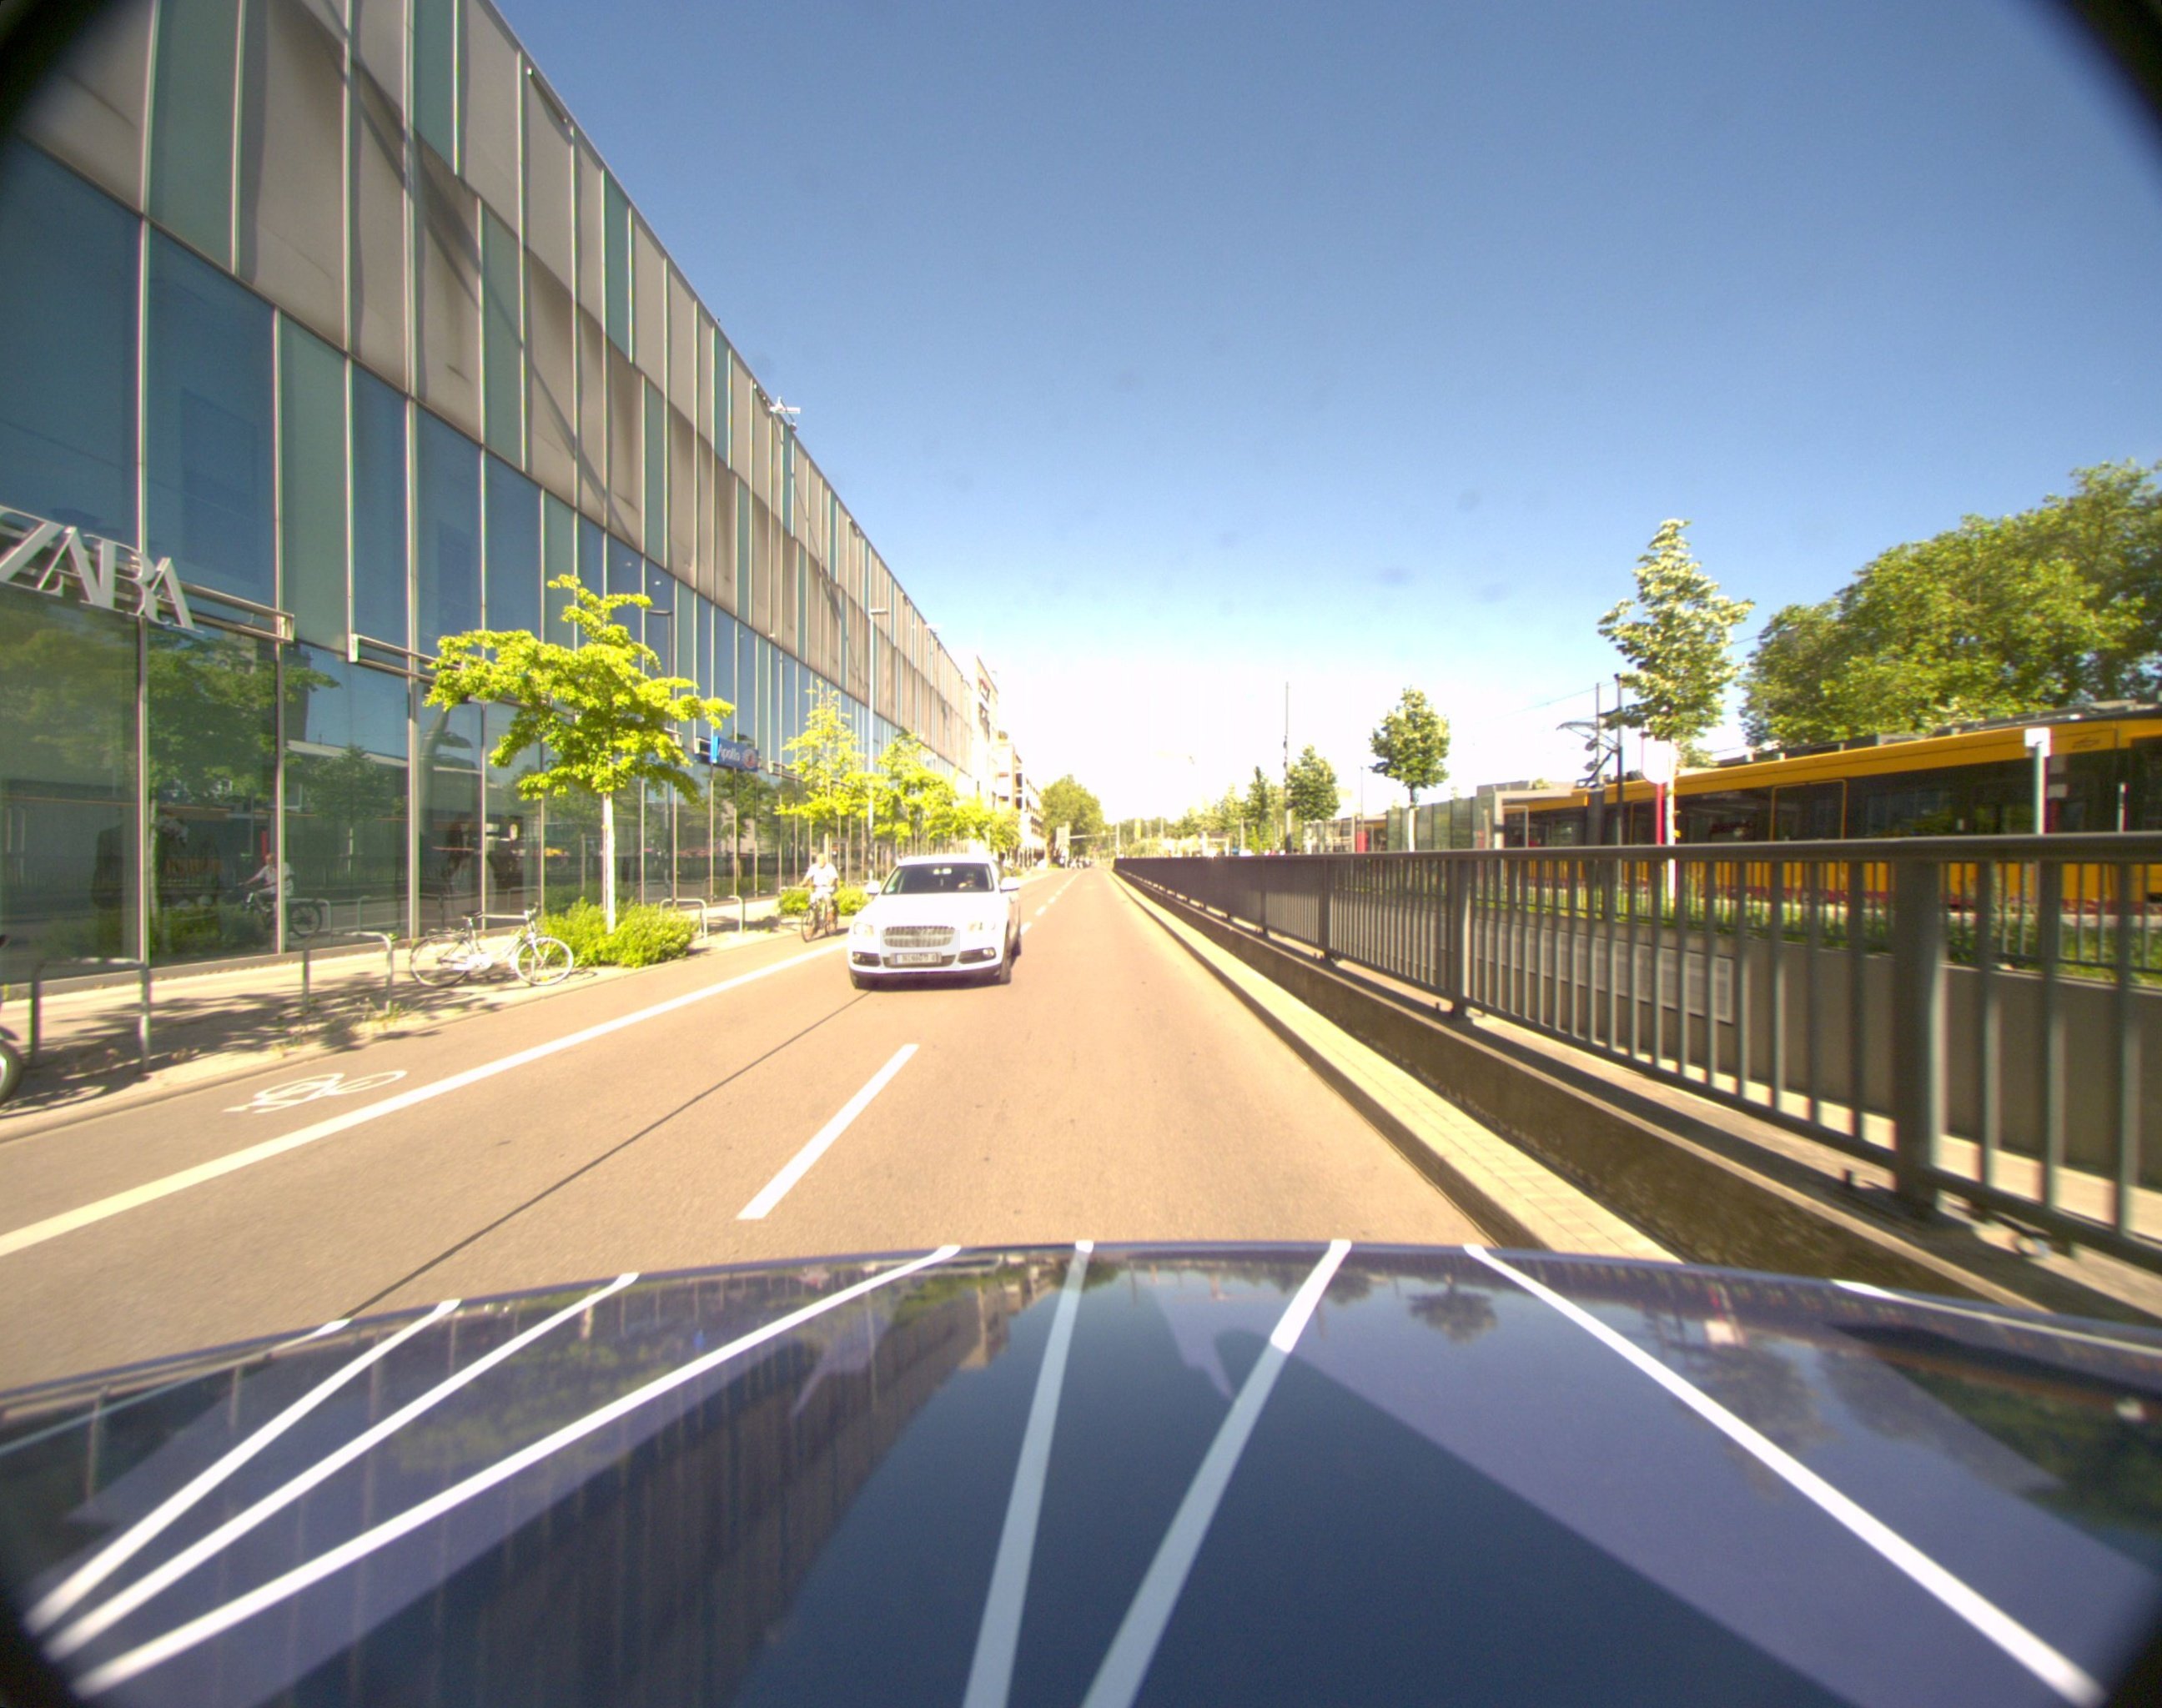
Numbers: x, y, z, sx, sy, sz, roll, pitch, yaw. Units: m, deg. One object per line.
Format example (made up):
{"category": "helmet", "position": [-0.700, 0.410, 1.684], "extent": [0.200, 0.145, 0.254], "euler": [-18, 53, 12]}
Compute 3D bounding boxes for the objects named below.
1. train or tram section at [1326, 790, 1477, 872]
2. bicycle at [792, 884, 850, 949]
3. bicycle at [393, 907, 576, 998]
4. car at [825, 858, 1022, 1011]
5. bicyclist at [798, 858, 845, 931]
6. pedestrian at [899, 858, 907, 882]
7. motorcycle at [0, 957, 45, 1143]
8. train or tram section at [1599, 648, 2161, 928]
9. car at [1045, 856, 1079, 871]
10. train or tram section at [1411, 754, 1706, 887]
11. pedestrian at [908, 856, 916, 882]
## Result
{"category": "train or tram section", "position": [16.241, -1.044, 40.004], "extent": [2.822, 3.617, 12.790], "euler": [0, 0, 2]}
{"category": "bicycle", "position": [-5.290, 1.235, 15.581], "extent": [0.610, 1.144, 1.986], "euler": [-1, 1, -4]}
{"category": "bicycle", "position": [-7.444, 1.226, 9.549], "extent": [1.741, 1.056, 0.467], "euler": [2, 0, -15]}
{"category": "car", "position": [-1.894, 0.902, 10.413], "extent": [1.934, 1.624, 3.999], "euler": [-1, 0, -2]}
{"category": "bicyclist", "position": [-5.324, 0.817, 15.639], "extent": [0.755, 1.454, 0.587], "euler": [-1, 1, -4]}
{"category": "pedestrian", "position": [-11.610, 1.035, 49.643], "extent": [0.450, 1.591, 0.287], "euler": [-1, 0, 1]}
{"category": "motorcycle", "position": [-7.643, 1.243, 4.974], "extent": [1.876, 1.076, 0.645], "euler": [2, 1, 25]}
{"category": "train or tram section", "position": [15.483, -0.862, 14.437], "extent": [2.822, 3.617, 12.790], "euler": [0, 0, 2]}
{"category": "car", "position": [-2.146, 1.057, 86.328], "extent": [3.802, 1.527, 1.786], "euler": [-1, 0, -3]}
{"category": "train or tram section", "position": [15.857, -0.944, 27.227], "extent": [2.822, 3.617, 12.790], "euler": [0, 0, 2]}
{"category": "pedestrian", "position": [-11.082, 0.985, 49.835], "extent": [0.450, 1.681, 0.345], "euler": [-1, 0, 1]}
